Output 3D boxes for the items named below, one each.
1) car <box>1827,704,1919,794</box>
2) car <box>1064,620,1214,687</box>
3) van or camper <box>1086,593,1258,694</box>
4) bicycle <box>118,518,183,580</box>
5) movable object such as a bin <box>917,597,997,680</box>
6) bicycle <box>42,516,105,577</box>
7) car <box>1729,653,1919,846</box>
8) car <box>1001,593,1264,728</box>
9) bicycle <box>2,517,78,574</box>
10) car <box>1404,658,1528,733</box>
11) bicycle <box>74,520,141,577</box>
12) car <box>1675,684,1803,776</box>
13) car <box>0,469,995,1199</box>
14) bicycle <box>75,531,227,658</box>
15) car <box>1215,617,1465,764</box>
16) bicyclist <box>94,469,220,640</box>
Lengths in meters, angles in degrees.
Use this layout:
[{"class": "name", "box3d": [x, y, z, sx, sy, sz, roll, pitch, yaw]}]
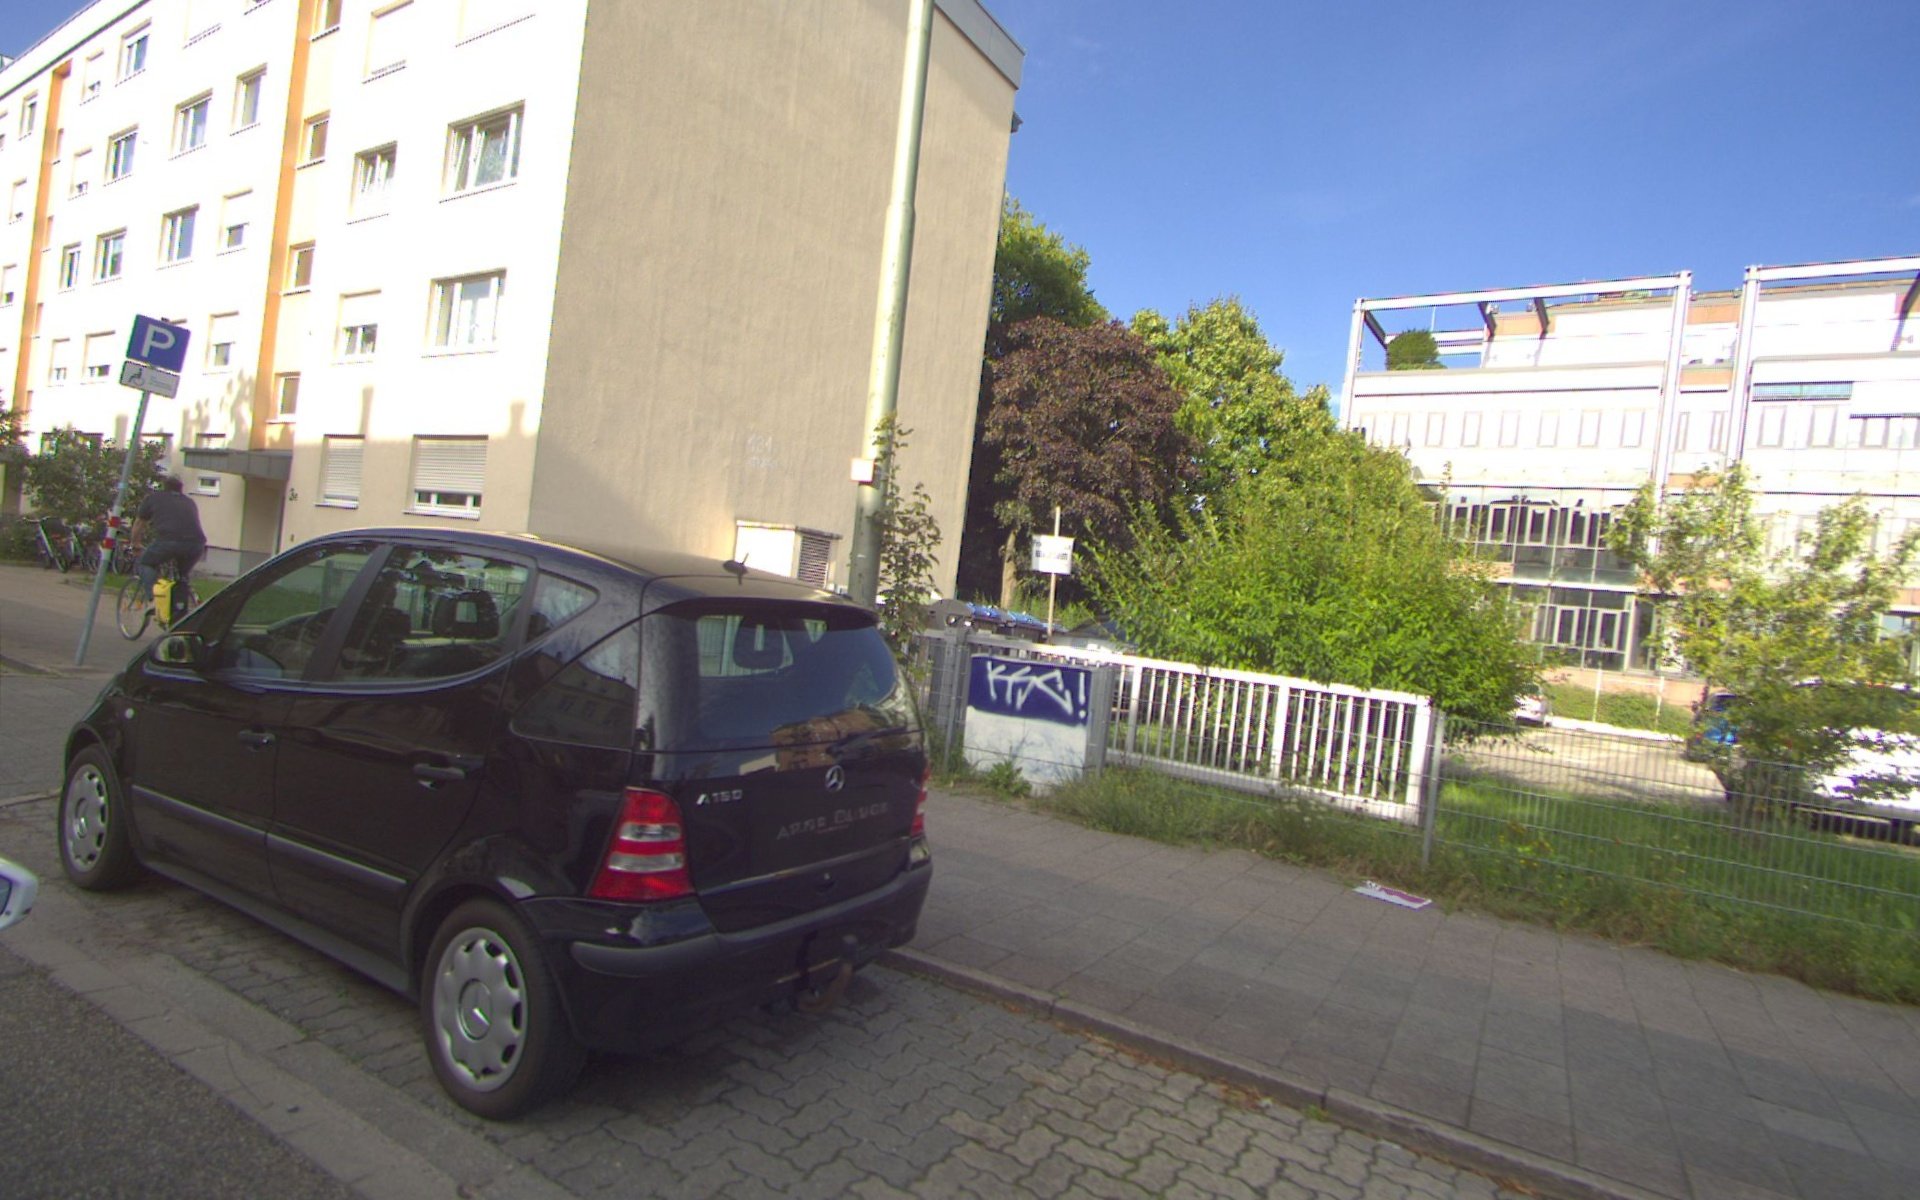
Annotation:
[{"class": "car", "box3d": [18.952, 3.026, 20.276, 1.842, 1.521, 4.078, 7, -2, 38]}, {"class": "car", "box3d": [5.460, 1.637, 30.764, 3.936, 1.504, 1.995, 6, -1, 34]}, {"class": "van or camper", "box3d": [6.875, 1.385, 32.891, 4.806, 2.665, 2.148, 6, 0, 38]}, {"class": "bicycle", "box3d": [-17.628, -1.123, 21.898, 1.564, 1.231, 0.522, 5, 0, 30]}, {"class": "movable object such as a bin", "box3d": [-0.062, 0.738, 19.275, 1.092, 1.435, 0.877, 7, 1, 32]}, {"class": "bicycle", "box3d": [-18.406, -1.116, 20.874, 1.564, 1.151, 0.445, 5, 0, 30]}, {"class": "car", "box3d": [9.192, 1.515, 10.329, 1.843, 1.499, 4.076, 6, -2, 39]}, {"class": "car", "box3d": [2.705, 0.961, 14.731, 1.841, 1.499, 4.669, 7, -2, 35]}, {"class": "bicycle", "box3d": [-18.612, -1.112, 20.342, 1.664, 1.009, 0.597, 5, -2, 30]}, {"class": "car", "box3d": [12.277, 2.328, 24.272, 1.842, 1.435, 4.078, 7, -2, 38]}, {"class": "bicycle", "box3d": [-18.074, -1.093, 21.321, 1.564, 1.088, 0.522, 5, 0, 30]}, {"class": "car", "box3d": [16.441, 2.724, 21.316, 1.842, 1.499, 4.078, 7, -2, 38]}, {"class": "car", "box3d": [-2.038, 0.487, 4.054, 3.904, 1.622, 1.675, 7, 0, 31]}, {"class": "bicycle", "box3d": [-8.734, -0.077, 10.839, 1.896, 1.148, 0.524, 7, 0, 30]}, {"class": "car", "box3d": [5.244, 1.235, 13.548, 1.843, 1.499, 4.076, 6, -2, 39]}, {"class": "bicyclist", "box3d": [-8.618, -0.481, 10.798, 0.878, 1.698, 0.624, 7, 0, 30]}]
